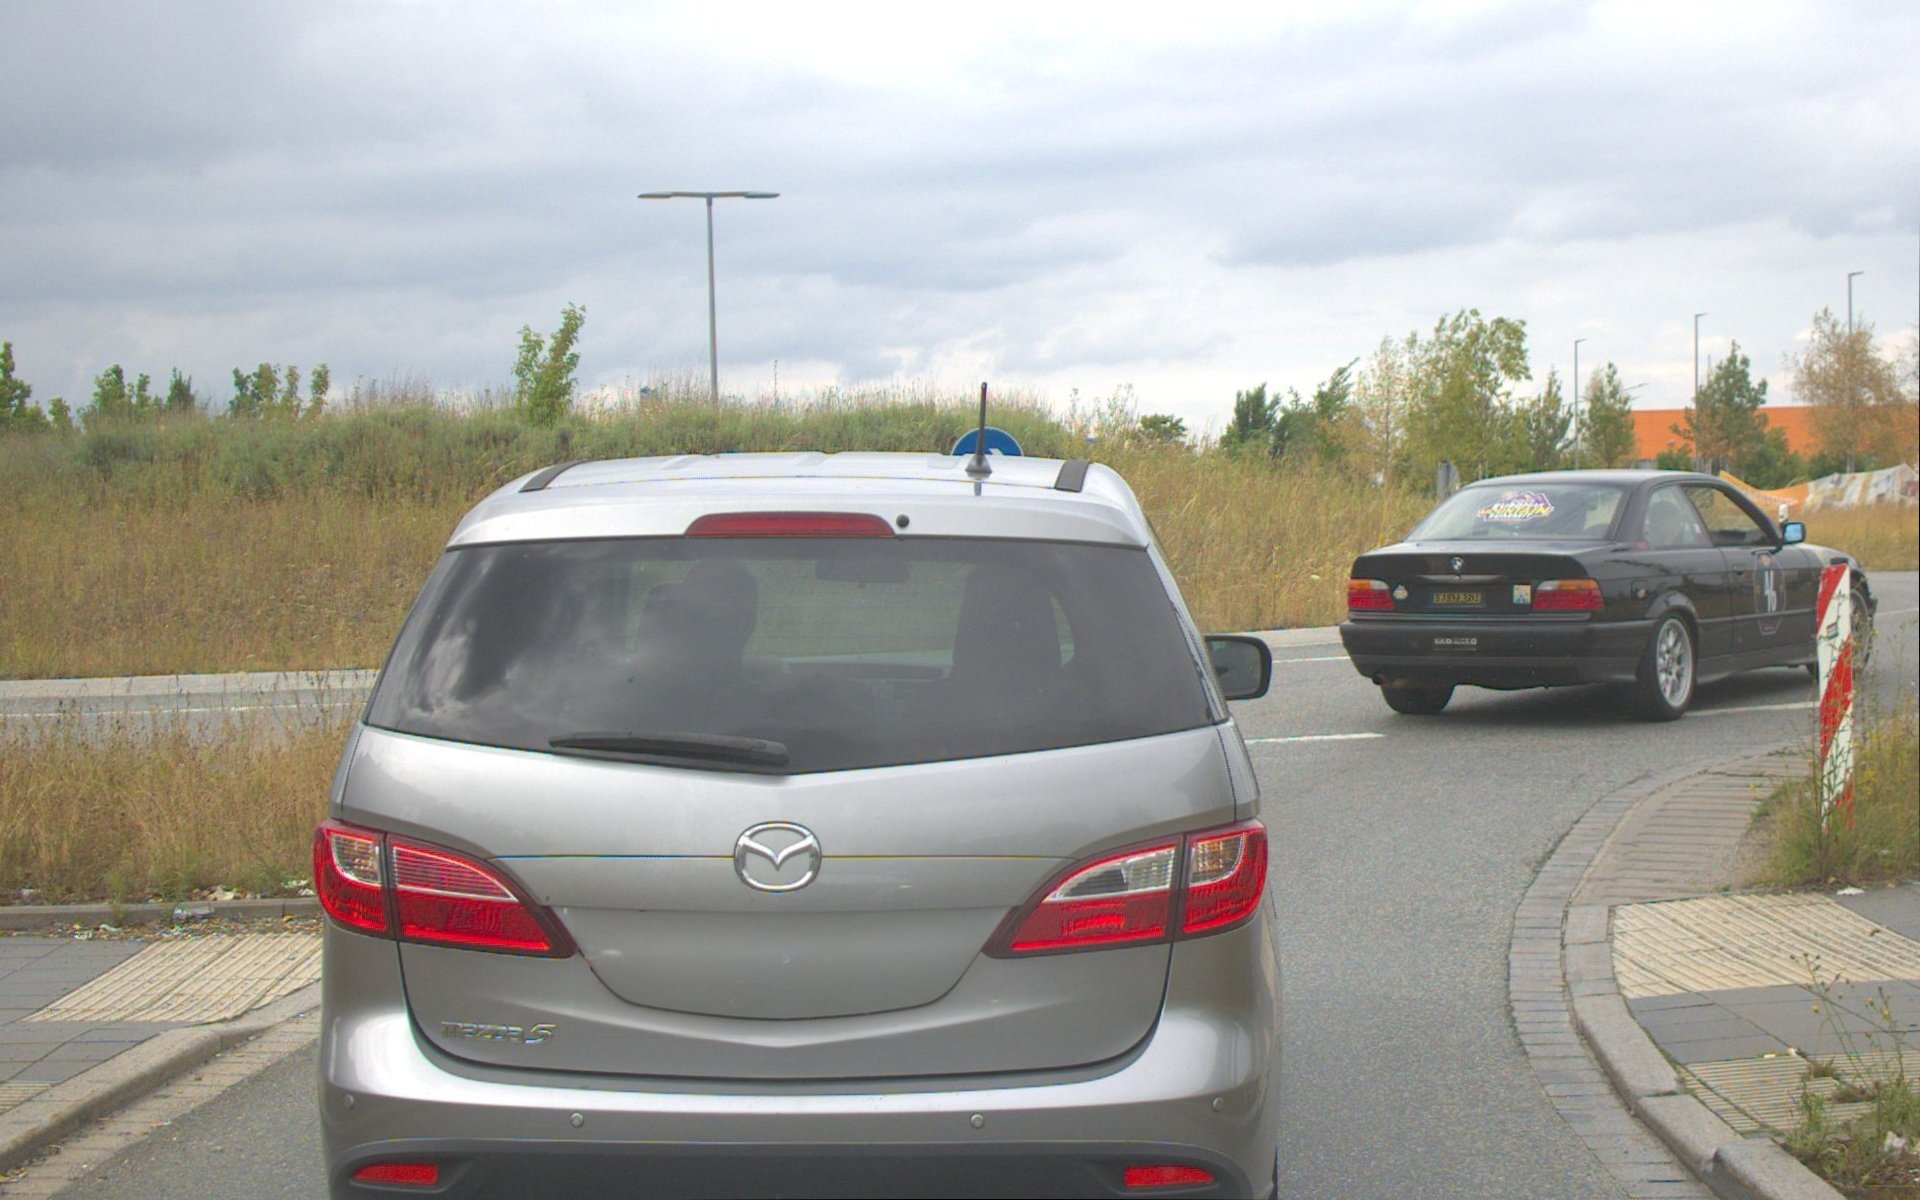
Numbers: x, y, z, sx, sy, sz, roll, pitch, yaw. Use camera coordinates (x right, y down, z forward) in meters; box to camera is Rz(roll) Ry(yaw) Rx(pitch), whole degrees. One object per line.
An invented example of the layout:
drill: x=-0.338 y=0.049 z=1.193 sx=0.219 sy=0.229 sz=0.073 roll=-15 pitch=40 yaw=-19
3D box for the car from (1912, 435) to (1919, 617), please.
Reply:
car: x=9.839 y=-0.631 z=27.863 sx=3.987 sy=1.459 sz=1.814 roll=-3 pitch=5 yaw=-30

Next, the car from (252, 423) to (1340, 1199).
car: x=-0.319 y=0.462 z=7.529 sx=1.738 sy=1.593 sz=3.998 roll=1 pitch=2 yaw=-2

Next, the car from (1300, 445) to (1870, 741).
car: x=3.648 y=-0.129 z=19.555 sx=1.741 sy=1.398 sz=3.990 roll=2 pitch=5 yaw=34
